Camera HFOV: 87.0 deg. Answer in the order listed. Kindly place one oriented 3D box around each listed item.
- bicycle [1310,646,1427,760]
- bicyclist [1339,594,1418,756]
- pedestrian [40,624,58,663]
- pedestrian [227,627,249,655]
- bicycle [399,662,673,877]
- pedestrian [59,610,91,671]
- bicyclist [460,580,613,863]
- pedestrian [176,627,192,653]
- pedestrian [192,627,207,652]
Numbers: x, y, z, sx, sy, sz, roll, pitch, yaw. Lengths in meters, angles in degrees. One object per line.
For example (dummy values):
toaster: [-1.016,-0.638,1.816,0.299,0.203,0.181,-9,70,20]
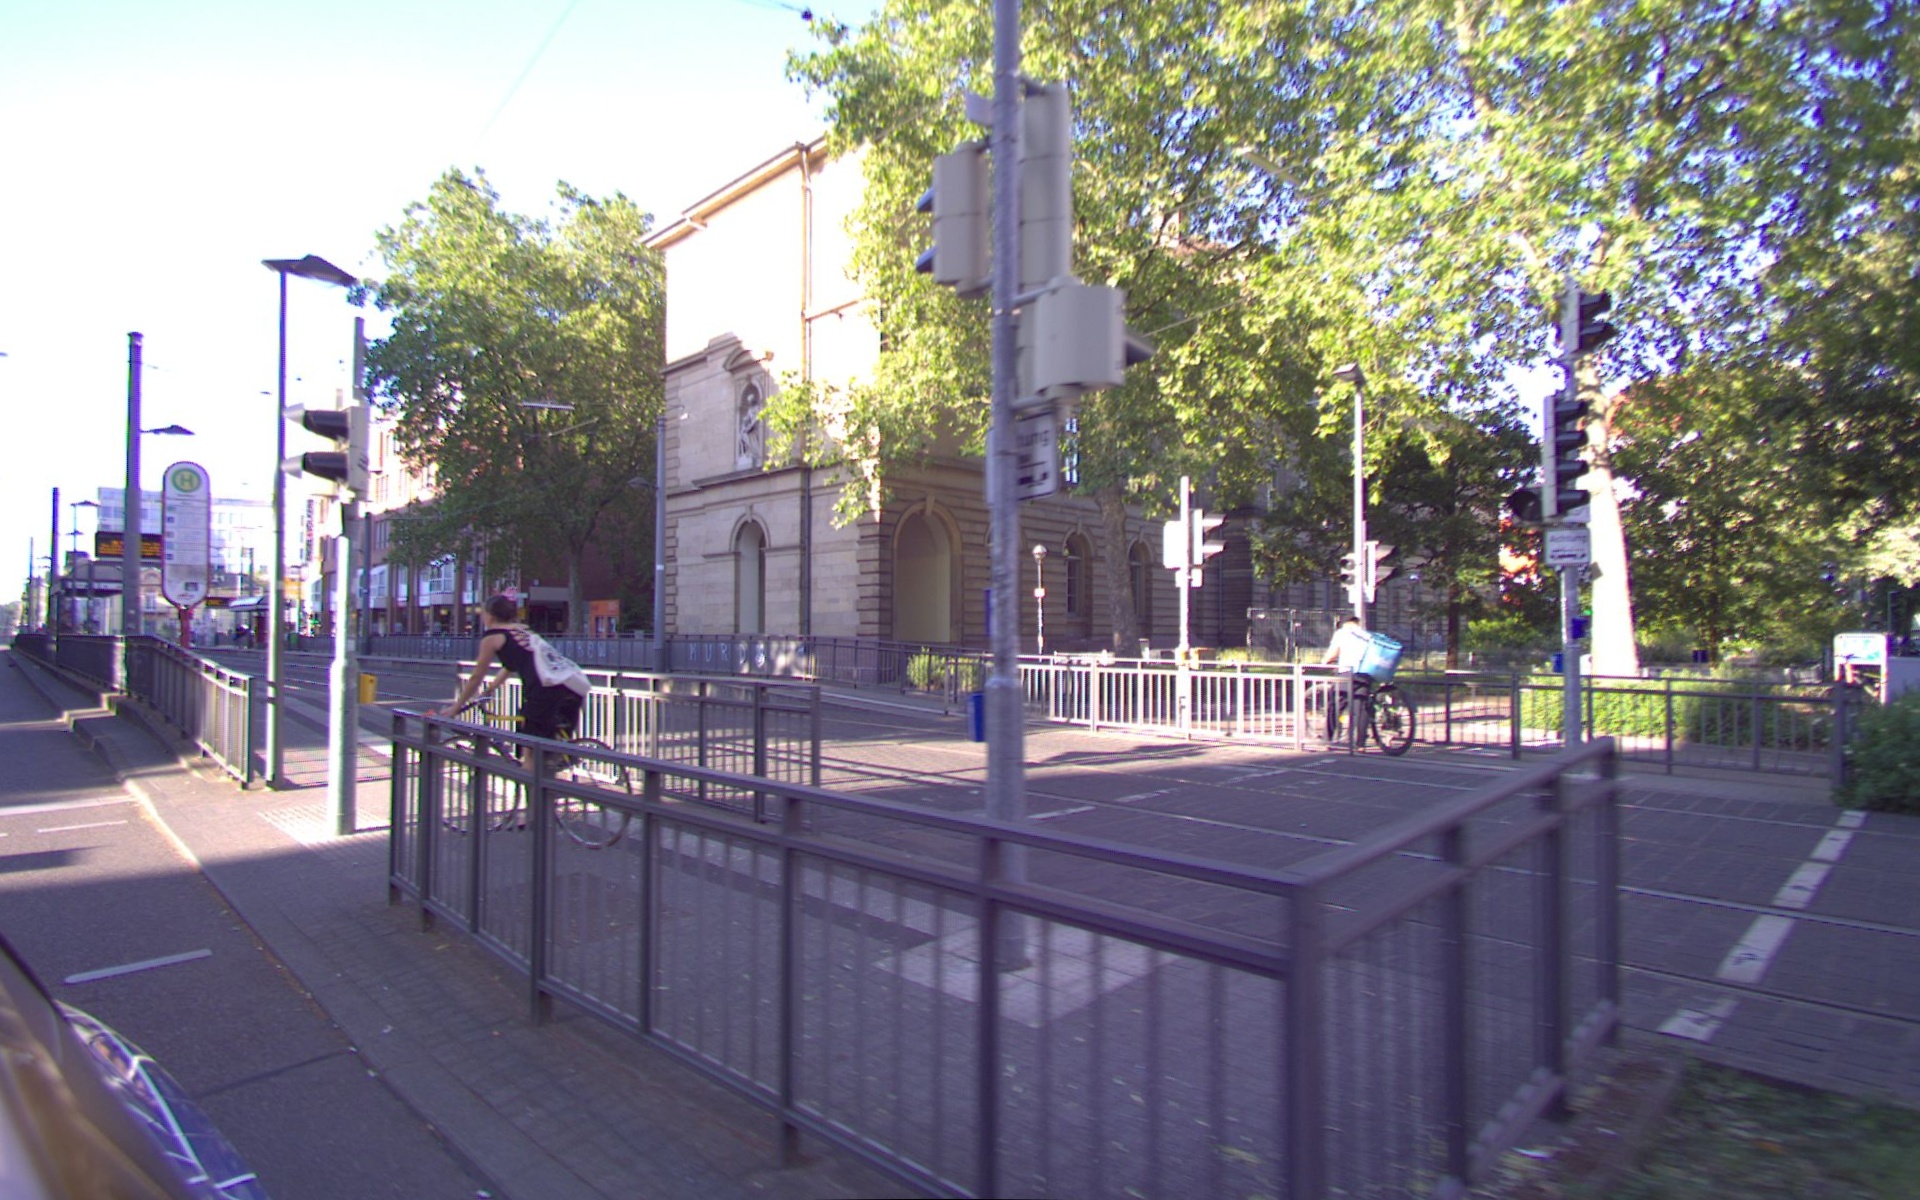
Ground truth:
bicycle: [4.588,1.113,11.501,0.576,1.086,1.898,-2,0,2]
bicyclist: [4.584,0.807,11.128,0.526,1.725,0.745,0,-2,0]
pedestrian: [-42.958,2.047,47.715,0.606,1.805,0.576,-2,-2,44]
pedestrian: [-43.362,2.448,60.815,0.968,1.674,0.901,-2,-3,45]
bicycle: [-2.615,0.948,6.147,1.894,1.086,0.577,-2,0,34]
pedestrian: [-25.309,1.152,28.941,0.615,1.725,0.850,2,-3,-45]
bicyclist: [-2.565,0.694,6.137,0.743,1.590,0.528,-2,-2,33]
pedestrian: [-56.077,2.888,73.136,0.847,1.780,0.813,-2,0,-37]
pedestrian: [-55.346,2.852,73.636,0.847,1.780,0.813,-2,0,-36]
